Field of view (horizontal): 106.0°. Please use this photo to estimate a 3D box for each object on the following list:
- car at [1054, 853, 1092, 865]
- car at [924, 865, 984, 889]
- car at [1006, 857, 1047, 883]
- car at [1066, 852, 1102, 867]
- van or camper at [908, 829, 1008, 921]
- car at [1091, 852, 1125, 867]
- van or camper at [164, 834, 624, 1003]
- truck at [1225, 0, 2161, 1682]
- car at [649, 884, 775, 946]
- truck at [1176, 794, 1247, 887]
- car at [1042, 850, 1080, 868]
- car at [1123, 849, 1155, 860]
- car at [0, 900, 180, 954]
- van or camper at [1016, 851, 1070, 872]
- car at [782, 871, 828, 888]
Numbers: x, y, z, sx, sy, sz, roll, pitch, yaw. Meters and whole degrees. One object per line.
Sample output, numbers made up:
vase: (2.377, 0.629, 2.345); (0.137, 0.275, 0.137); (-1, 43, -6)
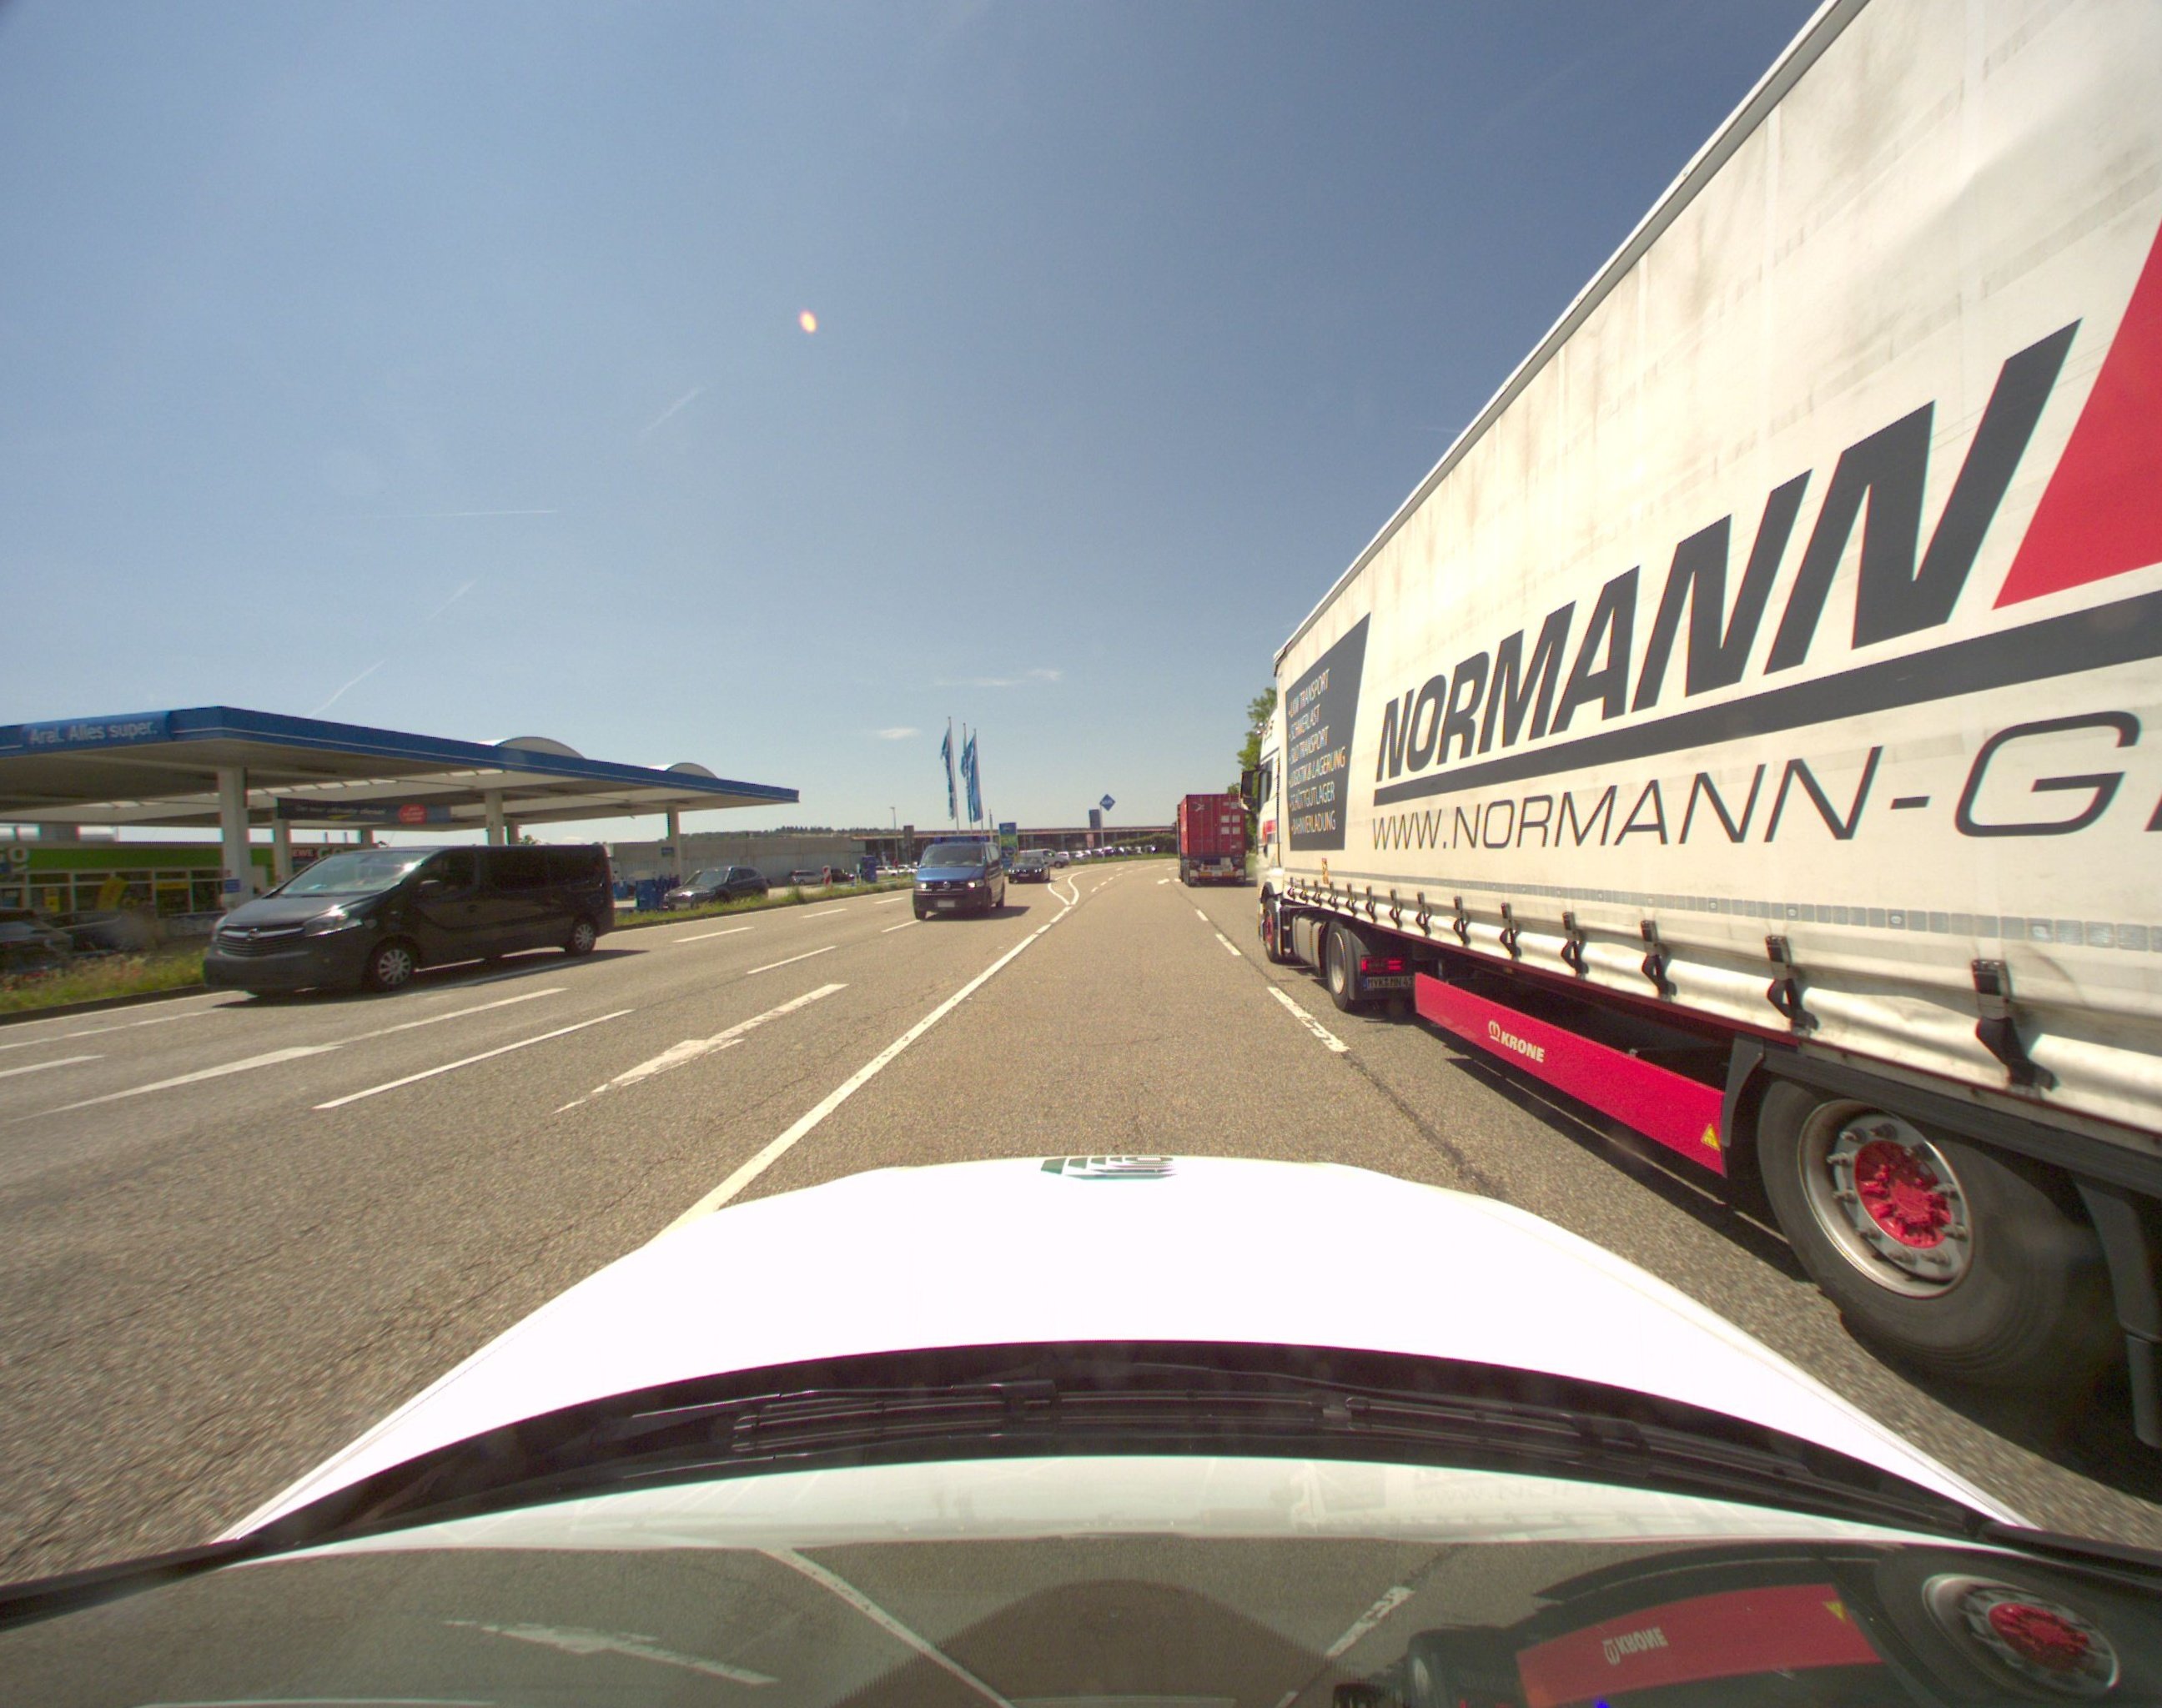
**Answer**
car: (-0.990, 0.641, 98.308); (4.196, 1.359, 2.012); (-1, -1, 31)
car: (-9.790, 1.746, 62.985); (1.844, 1.712, 4.548); (-2, -1, 37)
car: (-2.819, 0.805, 43.233); (1.842, 1.271, 4.176); (-2, 0, 0)
car: (0.338, 0.669, 101.155); (3.948, 1.750, 1.947); (-2, 0, 33)
van or camper: (-3.178, 0.518, 22.110); (1.830, 2.138, 5.342); (-1, 0, 0)
car: (3.481, 0.745, 105.095); (3.948, 1.750, 2.013); (-2, -1, 33)
van or camper: (-9.639, 0.771, 12.298); (1.984, 1.935, 5.391); (-2, 0, 5)
truck: (3.475, -0.636, 5.038); (2.960, 4.094, 17.648); (-1, -1, 3)
car: (-12.448, 1.999, 27.863); (1.820, 1.719, 4.576); (-2, 0, 5)
truck: (6.142, -0.606, 40.220); (2.635, 3.806, 13.380); (0, 0, 6)
car: (-2.396, 0.586, 96.628); (3.948, 2.013, 2.013); (-2, 0, 31)
car: (8.118, 0.098, 113.841); (3.948, 1.362, 1.832); (-4, -1, 30)
car: (-32.493, 2.305, 26.143); (1.982, 1.378, 4.393); (-2, 0, 9)
van or camper: (-3.566, 0.728, 77.534); (4.821, 1.905, 1.908); (-2, -1, 7)
car: (-26.955, 2.527, 79.633); (1.737, 1.442, 3.925); (-3, 0, 37)
